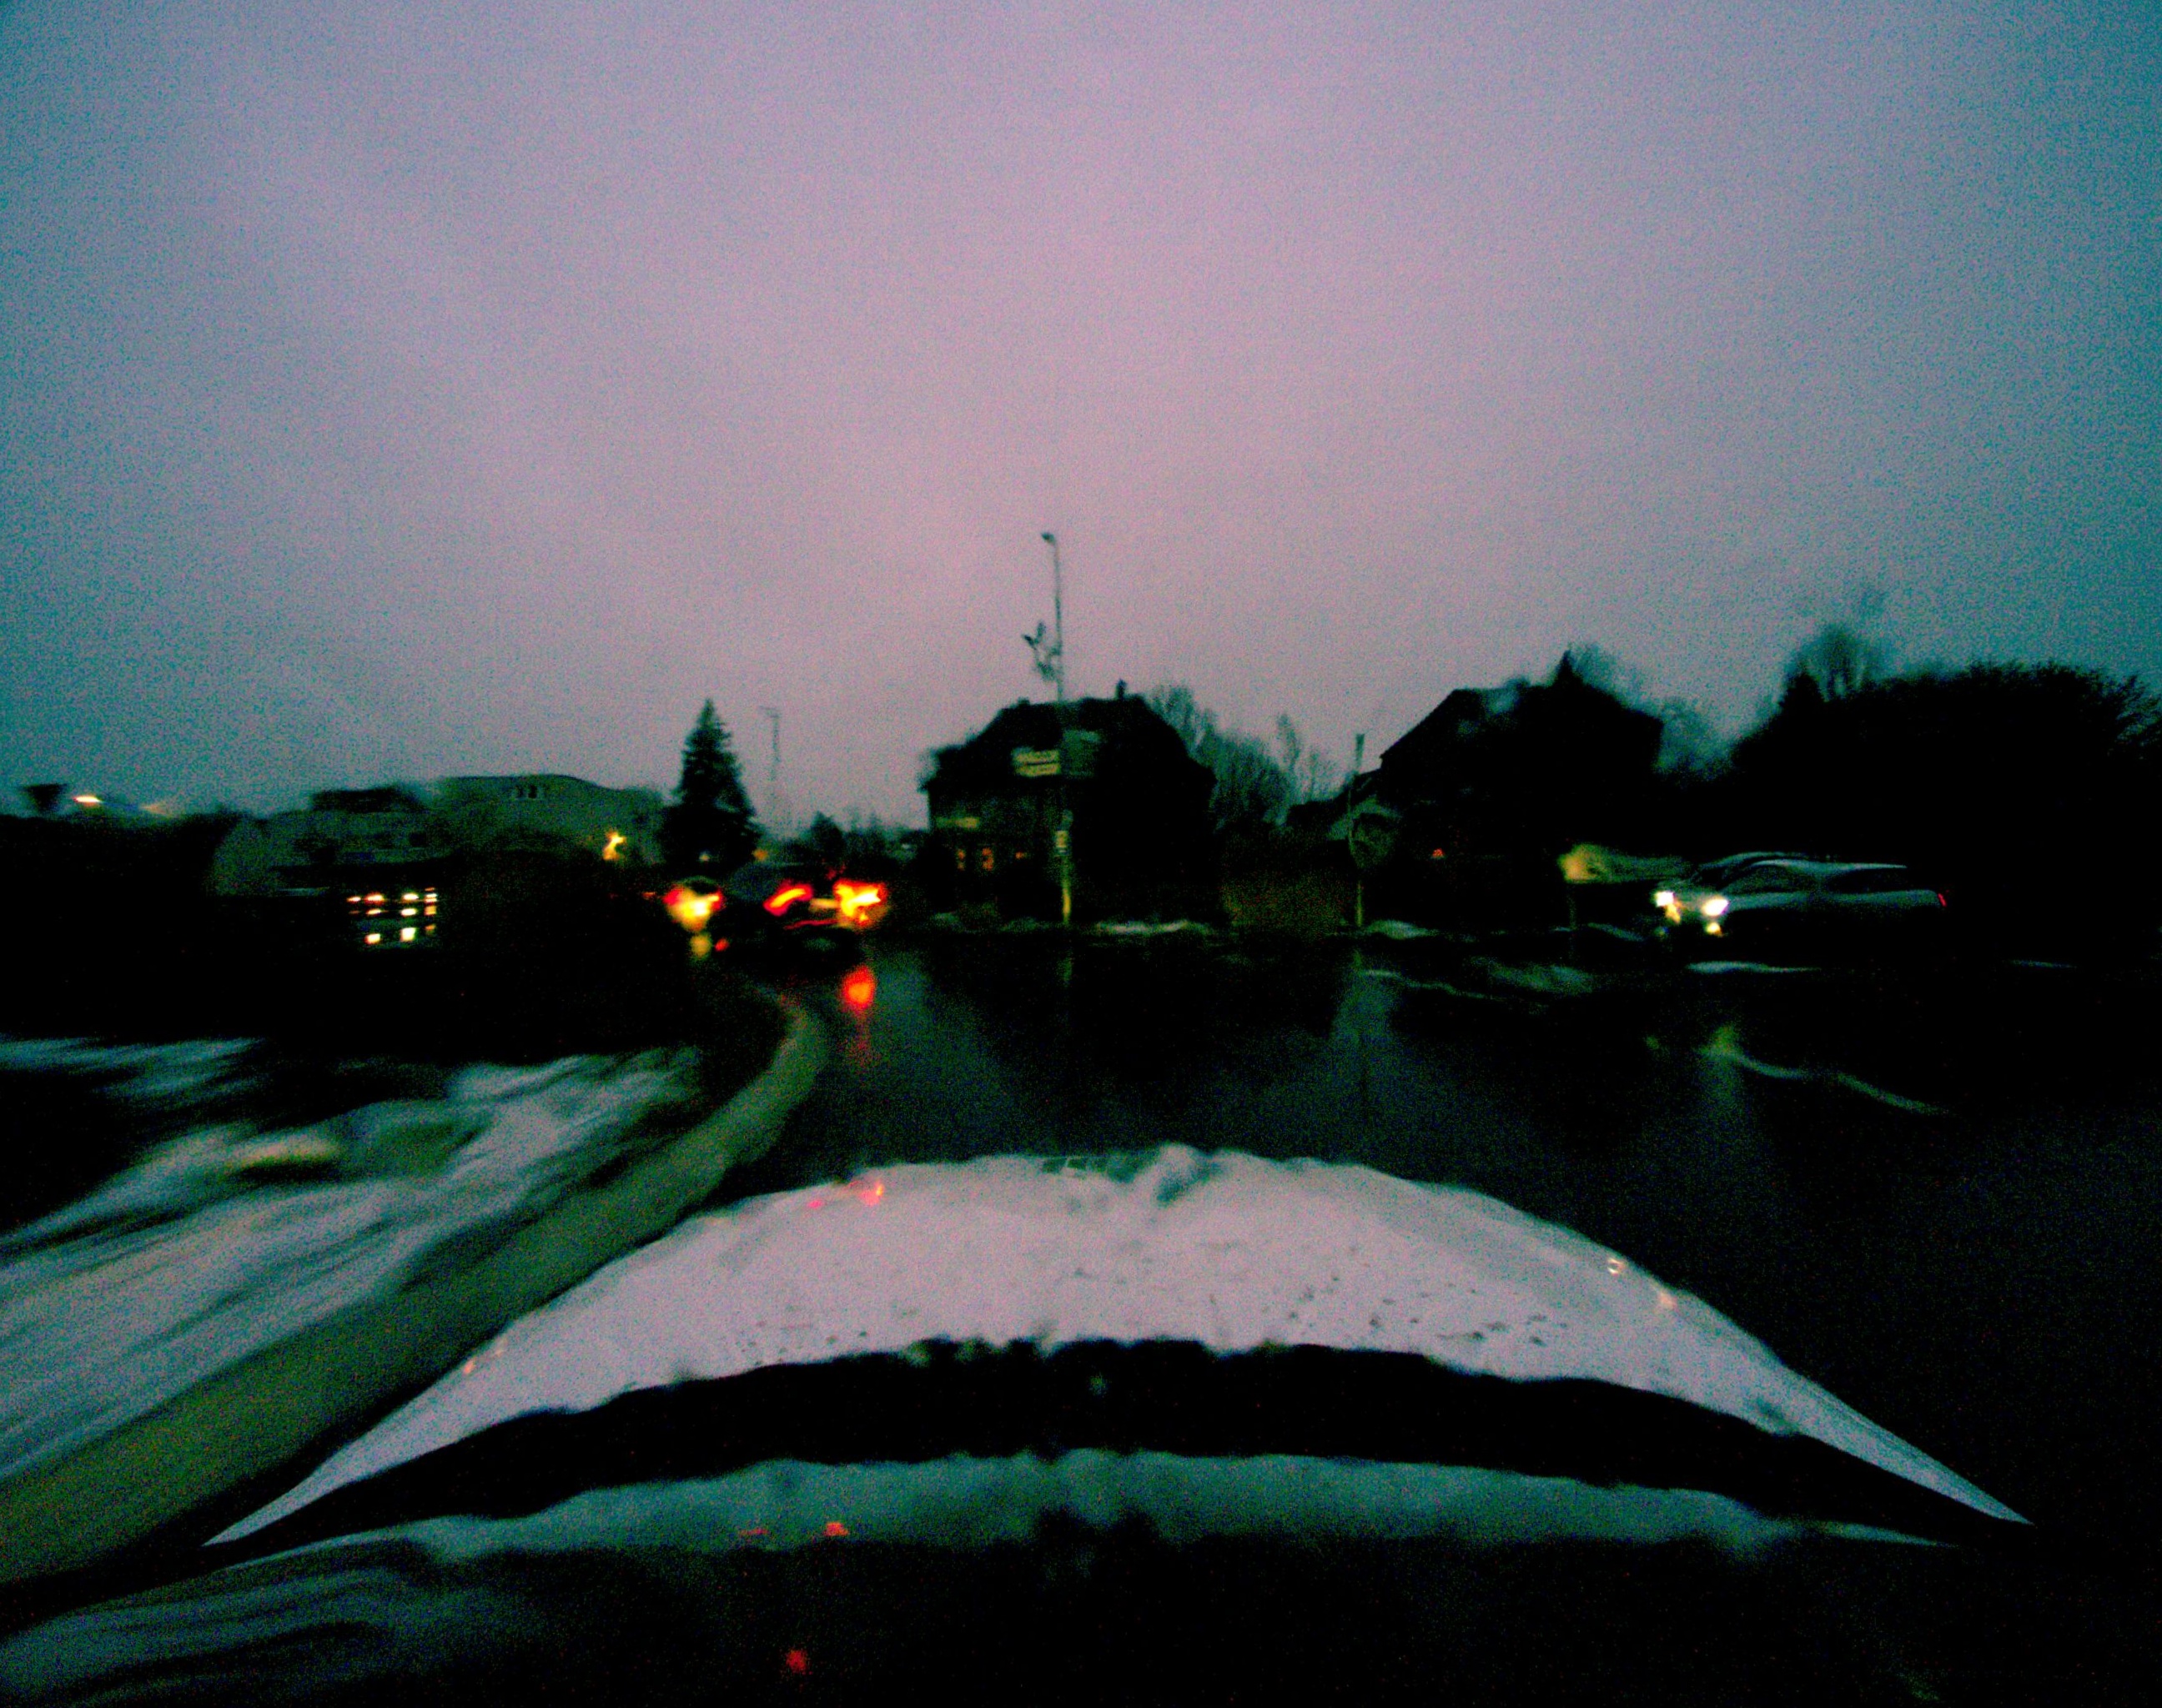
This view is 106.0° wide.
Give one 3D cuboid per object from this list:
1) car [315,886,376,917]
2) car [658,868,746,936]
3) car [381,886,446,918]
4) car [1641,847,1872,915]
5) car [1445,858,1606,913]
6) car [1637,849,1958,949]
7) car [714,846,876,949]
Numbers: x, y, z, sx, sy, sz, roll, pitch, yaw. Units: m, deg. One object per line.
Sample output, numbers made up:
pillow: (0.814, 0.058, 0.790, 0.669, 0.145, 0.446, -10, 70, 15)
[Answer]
car: (-52.702, 3.355, 58.322, 4.512, 2.060, 2.184, -1, 0, 33)
car: (-11.587, 1.347, 24.828, 2.175, 1.689, 4.531, -2, 1, -27)
car: (-46.483, 3.316, 56.699, 4.512, 2.060, 2.184, -1, 0, 32)
car: (20.375, 0.817, 24.942, 5.180, 1.919, 1.950, -1, -2, 31)
car: (17.281, 1.248, 31.852, 5.263, 1.865, 2.382, -3, -1, 29)
car: (11.278, 0.698, 13.001, 3.688, 1.492, 1.662, 0, -2, -1)
car: (-5.696, 0.767, 15.929, 1.959, 1.718, 3.956, -1, -1, -35)
